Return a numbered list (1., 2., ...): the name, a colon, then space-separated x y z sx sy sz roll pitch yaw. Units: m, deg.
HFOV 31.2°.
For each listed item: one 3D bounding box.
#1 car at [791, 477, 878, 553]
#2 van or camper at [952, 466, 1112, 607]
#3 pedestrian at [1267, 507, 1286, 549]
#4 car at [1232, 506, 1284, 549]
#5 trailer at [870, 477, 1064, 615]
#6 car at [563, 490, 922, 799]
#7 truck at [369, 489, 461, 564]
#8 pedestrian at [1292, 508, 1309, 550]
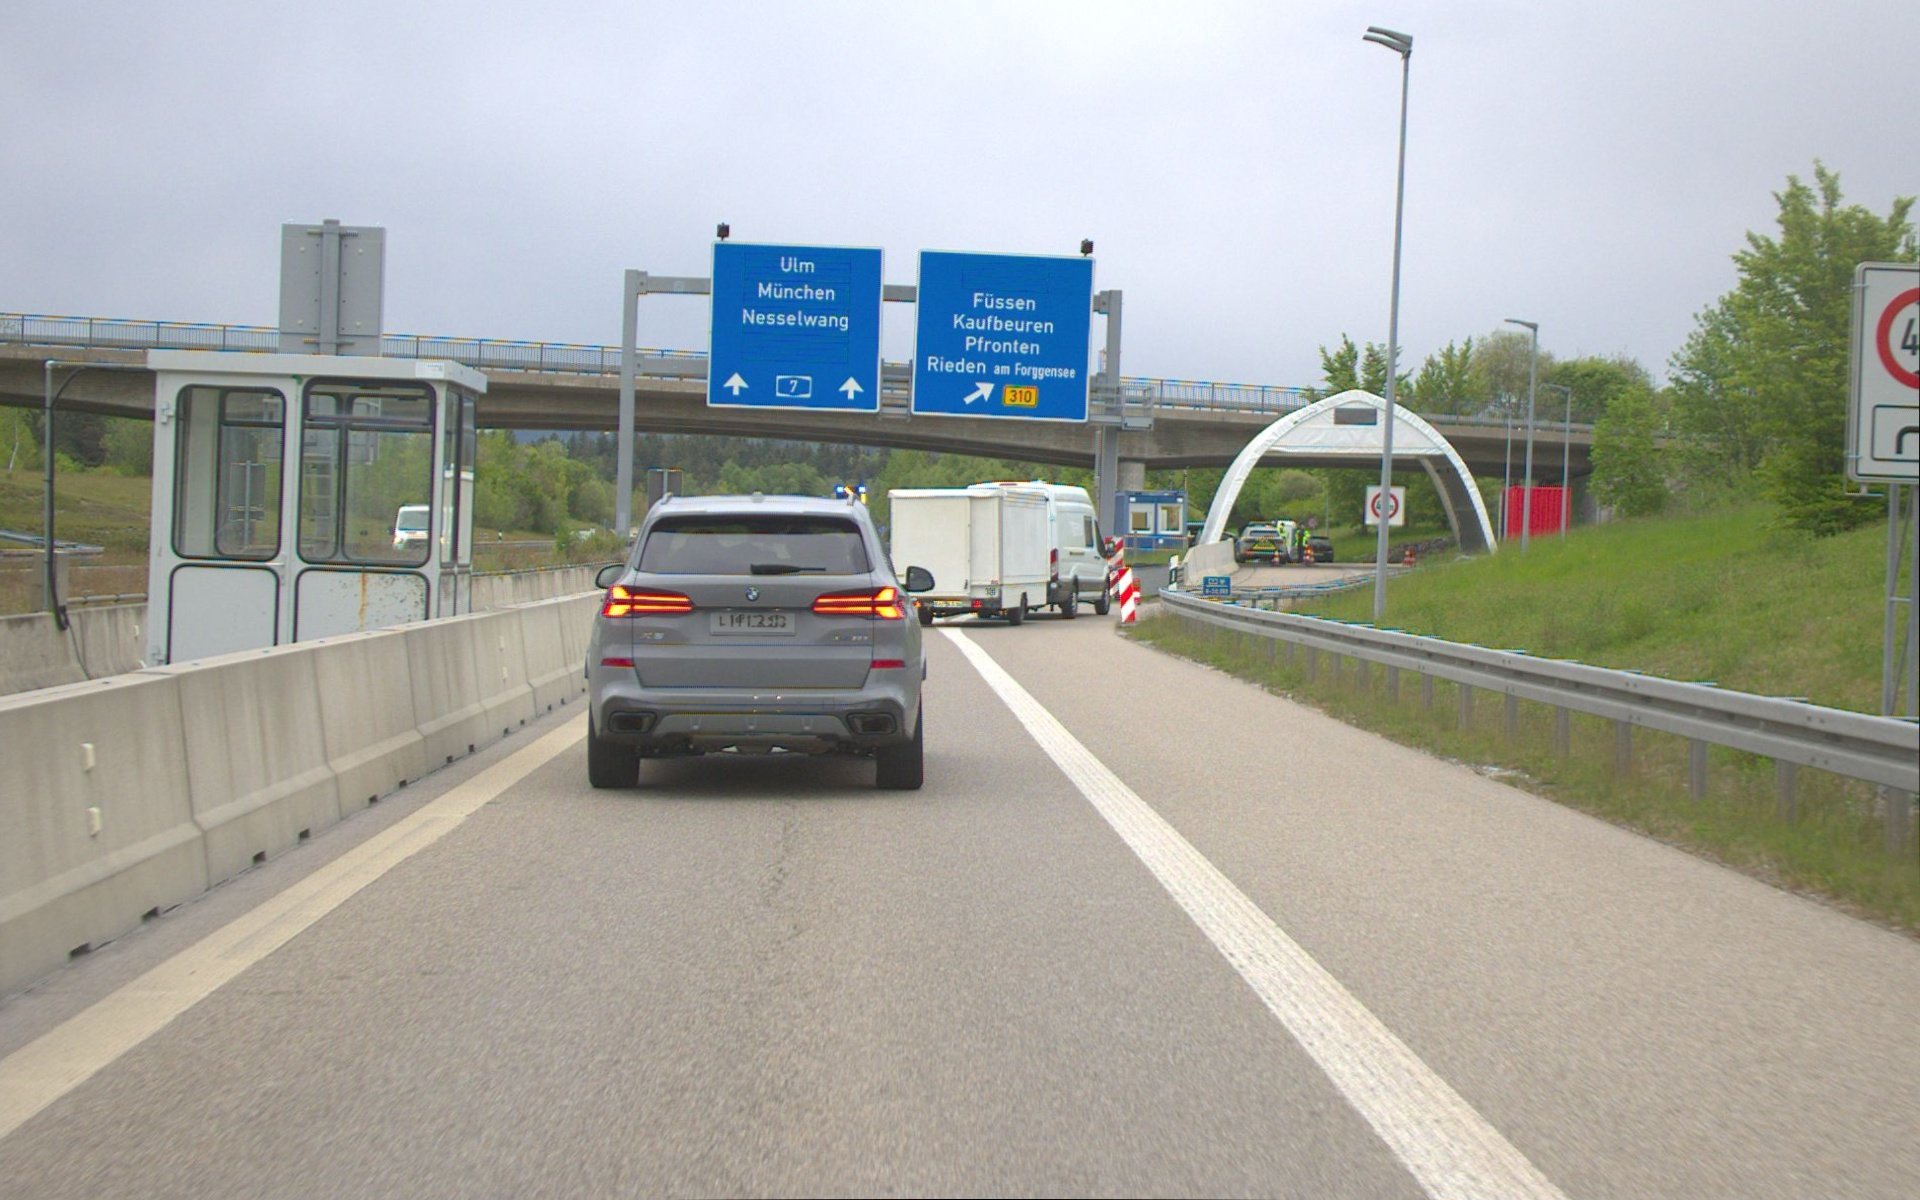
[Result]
1. car: -3.479 -2.345 94.688 2.286 2.006 5.051 1 2 -3
2. van or camper: 1.538 -1.278 70.276 2.158 2.754 5.868 1 1 12
3. pedestrian: 13.176 -2.996 143.151 0.720 1.769 0.690 0 1 3
4. car: 12.196 -2.974 140.860 1.994 1.766 3.765 0 1 3
5. trailer: 0.222 -0.992 64.012 2.280 2.422 6.814 1 1 12
6. car: -1.260 0.210 21.266 1.993 1.713 4.000 1 1 -1
7. truck: -18.832 -2.556 119.079 2.356 2.471 5.989 1 1 -2
8. pedestrian: 14.276 -2.976 143.983 0.648 1.769 0.606 0 1 1
